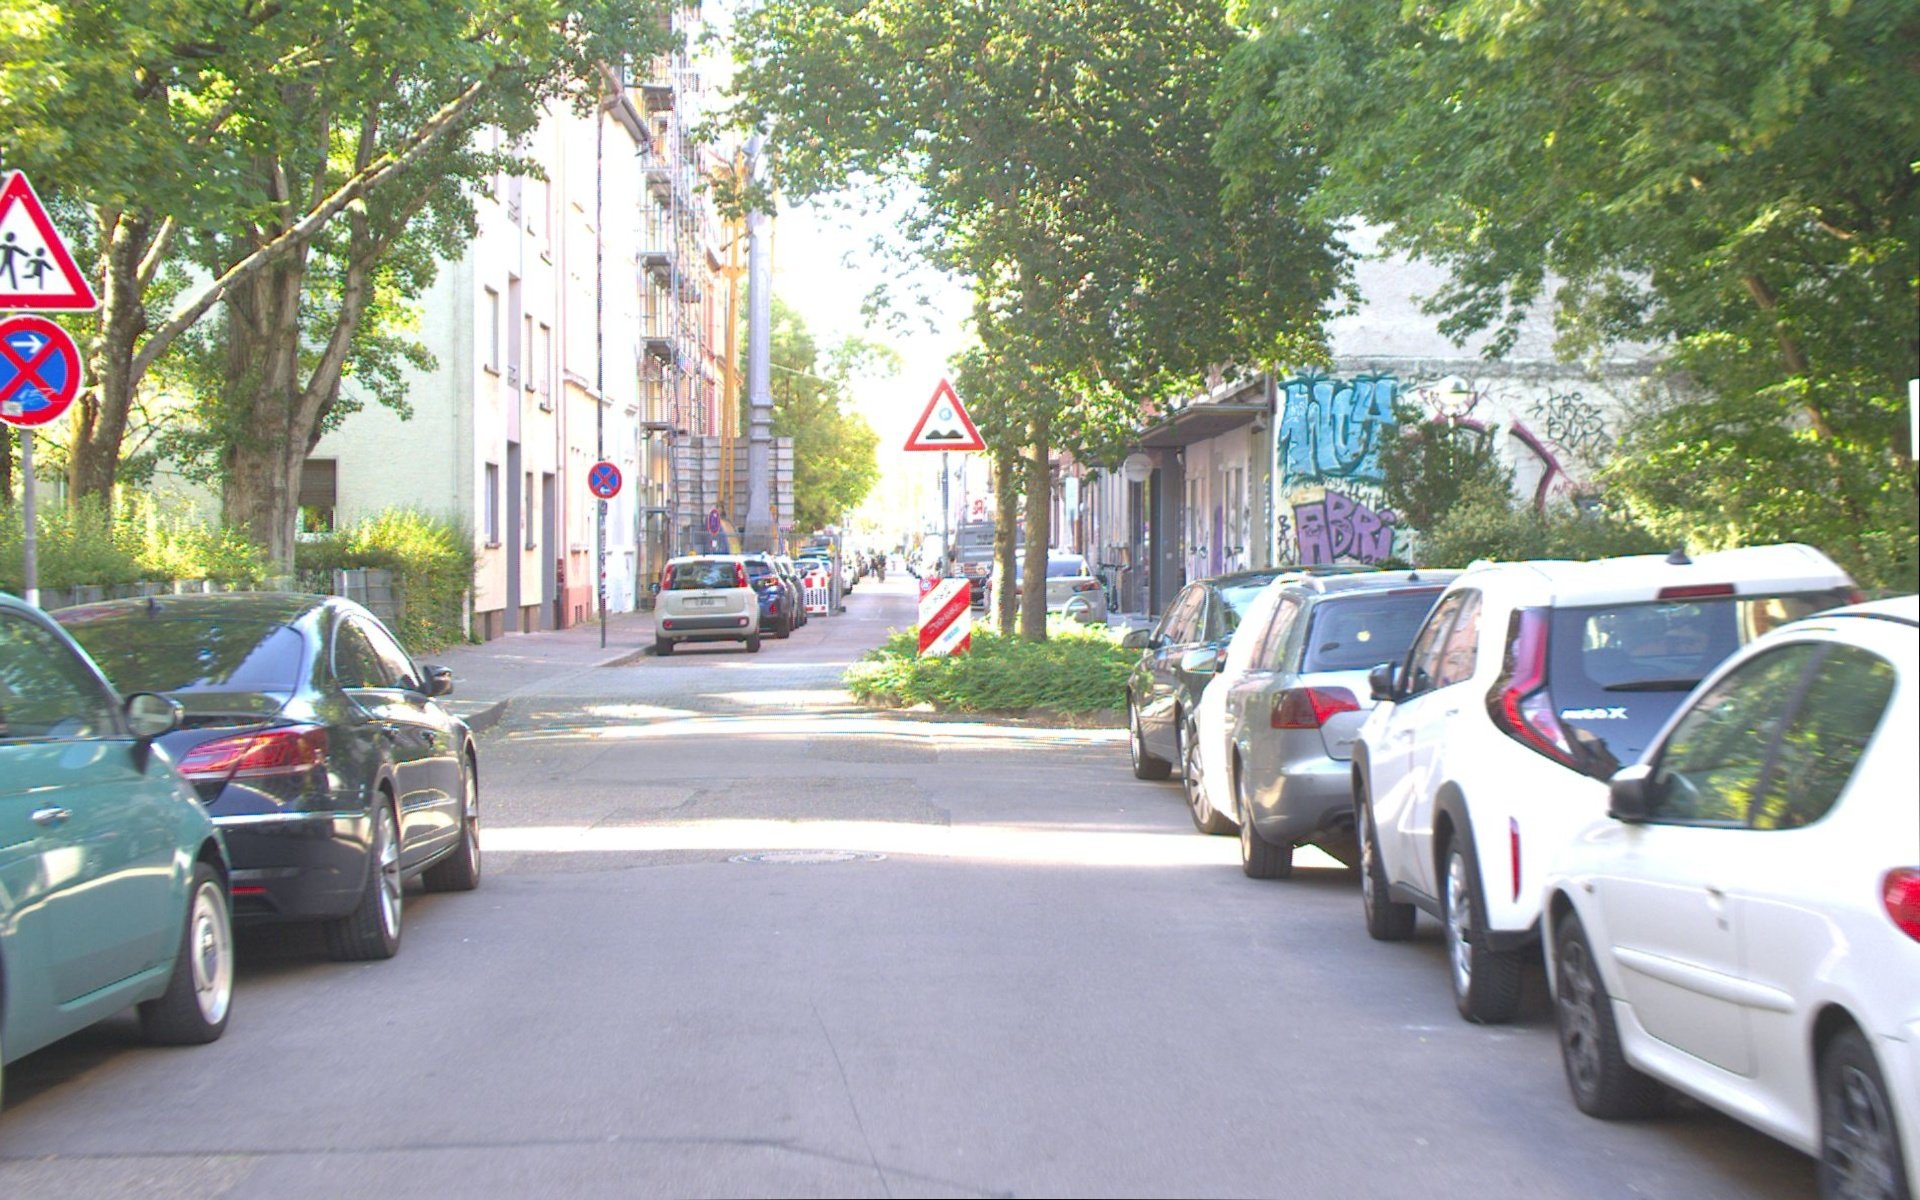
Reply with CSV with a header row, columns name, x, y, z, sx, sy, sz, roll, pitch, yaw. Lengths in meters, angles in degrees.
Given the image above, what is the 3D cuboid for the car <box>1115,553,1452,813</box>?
name,x,y,z,sx,sy,sz,roll,pitch,yaw
car,2.013,0.464,22.450,1.675,1.482,4.095,-2,1,-2

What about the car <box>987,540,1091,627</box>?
name,x,y,z,sx,sy,sz,roll,pitch,yaw
car,1.413,-0.325,62.861,1.675,1.482,3.638,-2,1,-2

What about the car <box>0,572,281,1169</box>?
name,x,y,z,sx,sy,sz,roll,pitch,yaw
car,-3.221,0.696,9.736,1.670,1.464,3.820,-1,1,2

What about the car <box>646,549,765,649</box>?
name,x,y,z,sx,sy,sz,roll,pitch,yaw
car,-4.026,-0.046,54.934,1.675,1.482,4.095,-2,1,-2

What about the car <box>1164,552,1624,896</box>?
name,x,y,z,sx,sy,sz,roll,pitch,yaw
car,2.069,0.525,17.448,1.675,1.482,4.095,-2,1,-2

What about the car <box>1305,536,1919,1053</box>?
name,x,y,z,sx,sy,sz,roll,pitch,yaw
car,2.355,0.567,12.546,1.675,1.556,3.796,-2,1,-2

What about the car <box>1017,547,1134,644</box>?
name,x,y,z,sx,sy,sz,roll,pitch,yaw
car,1.868,-0.104,56.456,1.675,1.482,3.638,-2,1,-2

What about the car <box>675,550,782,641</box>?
name,x,y,z,sx,sy,sz,roll,pitch,yaw
car,-4.036,-0.106,60.356,1.675,1.482,4.095,-2,1,-2

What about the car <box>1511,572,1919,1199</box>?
name,x,y,z,sx,sy,sz,roll,pitch,yaw
car,2.458,0.701,8.245,1.566,1.478,3.619,-2,1,-2

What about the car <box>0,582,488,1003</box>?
name,x,y,z,sx,sy,sz,roll,pitch,yaw
car,-2.982,0.655,13.785,1.670,1.356,4.049,-2,1,-1
